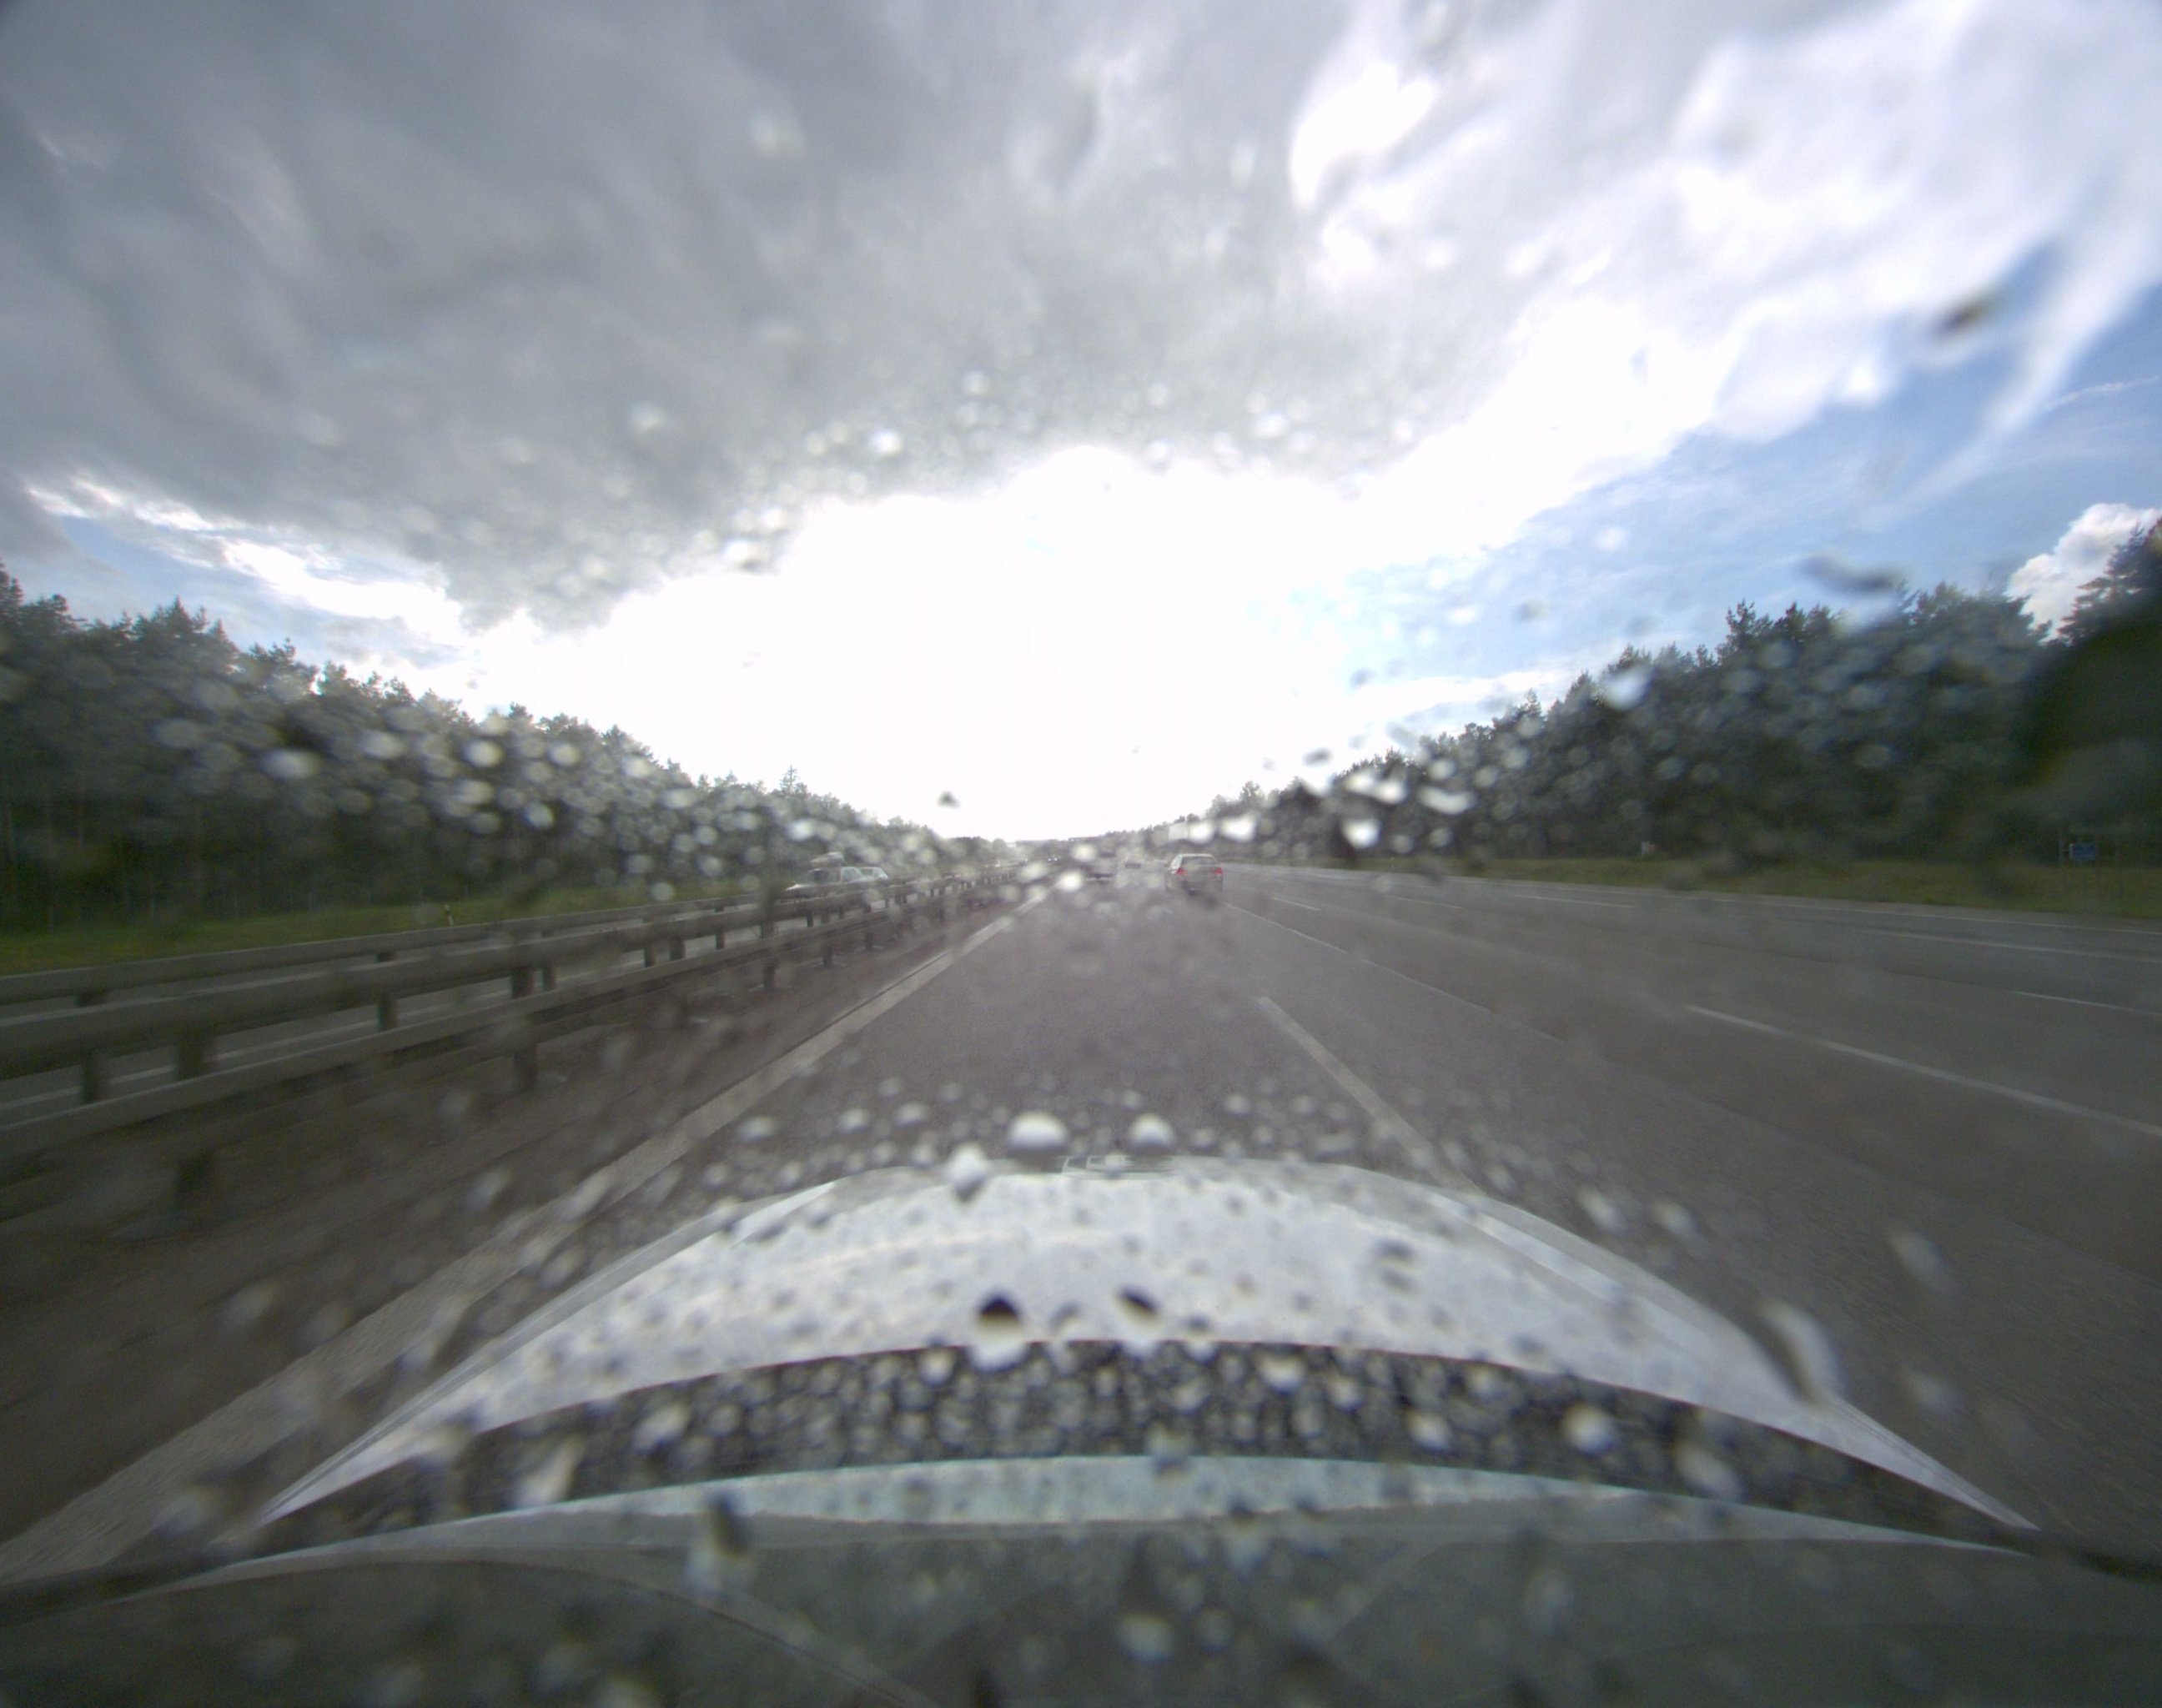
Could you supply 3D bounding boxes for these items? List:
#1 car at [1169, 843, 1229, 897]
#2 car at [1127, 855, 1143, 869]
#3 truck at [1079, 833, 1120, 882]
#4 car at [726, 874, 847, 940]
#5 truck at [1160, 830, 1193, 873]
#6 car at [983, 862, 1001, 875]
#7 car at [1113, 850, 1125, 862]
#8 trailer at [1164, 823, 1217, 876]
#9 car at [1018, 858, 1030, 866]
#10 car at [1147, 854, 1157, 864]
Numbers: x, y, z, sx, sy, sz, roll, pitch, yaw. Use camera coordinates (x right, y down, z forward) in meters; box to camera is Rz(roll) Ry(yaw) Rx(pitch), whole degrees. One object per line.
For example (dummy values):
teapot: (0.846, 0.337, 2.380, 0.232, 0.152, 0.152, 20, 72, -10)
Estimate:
car: (4.436, 0.553, 31.218, 2.067, 1.885, 5.019, 0, 0, 6)
car: (6.207, 0.913, 93.470, 1.823, 1.466, 4.003, -1, 0, 3)
truck: (1.027, 0.175, 45.232, 2.130, 2.489, 5.314, -1, 0, 1)
car: (-8.482, 1.462, 23.910, 1.778, 1.547, 4.403, -3, 0, 1)
truck: (8.820, -0.221, 75.565, 2.287, 3.868, 5.389, -2, 0, -1)
car: (-11.115, 1.851, 101.851, 1.723, 1.481, 3.999, -3, 0, 0)
car: (6.402, 0.332, 137.896, 1.901, 2.013, 4.002, -1, 0, 2)
trailer: (8.957, -0.314, 68.253, 2.317, 4.001, 13.404, -1, 0, -1)
car: (-10.689, 1.469, 152.511, 1.805, 1.422, 4.236, -4, 0, 0)
car: (14.744, 0.955, 169.773, 1.986, 2.013, 4.002, 0, 0, 2)
